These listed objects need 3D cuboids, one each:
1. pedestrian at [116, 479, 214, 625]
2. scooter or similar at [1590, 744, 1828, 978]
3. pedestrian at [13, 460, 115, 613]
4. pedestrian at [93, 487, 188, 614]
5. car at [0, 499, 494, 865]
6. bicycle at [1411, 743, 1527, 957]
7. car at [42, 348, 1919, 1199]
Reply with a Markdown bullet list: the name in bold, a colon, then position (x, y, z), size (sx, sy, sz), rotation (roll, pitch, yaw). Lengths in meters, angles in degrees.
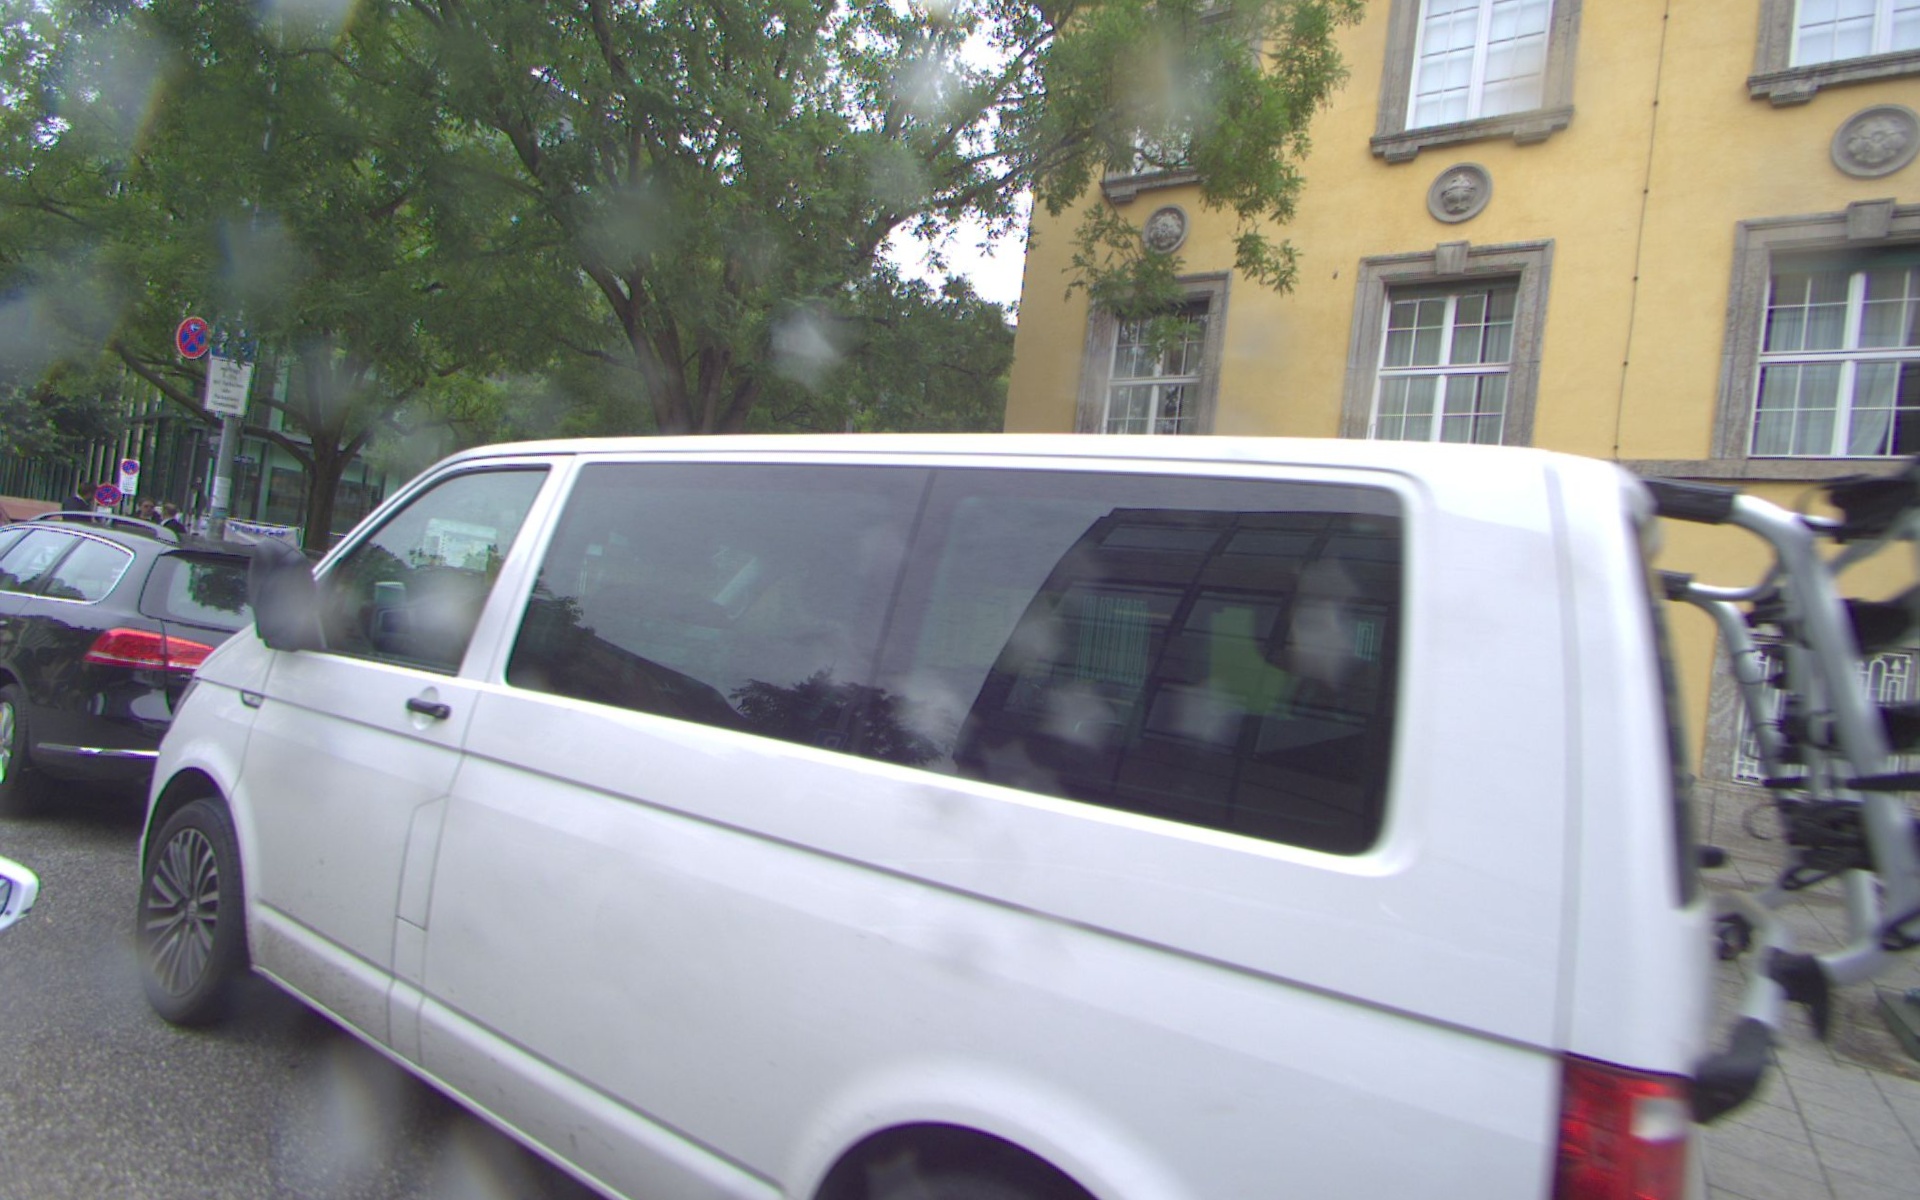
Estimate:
- **pedestrian**: position (-12.543, -0.751, 15.868), size (1.039, 2.160, 0.743), rotation (7, 0, 34)
- **scooter or similar**: position (4.593, 1.589, 6.193), size (0.995, 1.237, 0.537), rotation (7, 0, -11)
- **pedestrian**: position (-13.516, -0.958, 15.174), size (1.039, 2.160, 0.743), rotation (7, 0, 34)
- **pedestrian**: position (-13.515, -0.793, 16.623), size (0.734, 1.930, 1.051), rotation (7, 0, -20)
- **car**: position (-5.329, 0.270, 6.363), size (4.891, 1.505, 1.777), rotation (7, -4, 32)
- **bicycle**: position (3.554, 1.626, 6.943), size (0.463, 1.127, 1.934), rotation (7, -1, 31)
- **car**: position (-0.510, 0.638, 2.996), size (5.187, 1.953, 1.850), rotation (6, -4, 33)
